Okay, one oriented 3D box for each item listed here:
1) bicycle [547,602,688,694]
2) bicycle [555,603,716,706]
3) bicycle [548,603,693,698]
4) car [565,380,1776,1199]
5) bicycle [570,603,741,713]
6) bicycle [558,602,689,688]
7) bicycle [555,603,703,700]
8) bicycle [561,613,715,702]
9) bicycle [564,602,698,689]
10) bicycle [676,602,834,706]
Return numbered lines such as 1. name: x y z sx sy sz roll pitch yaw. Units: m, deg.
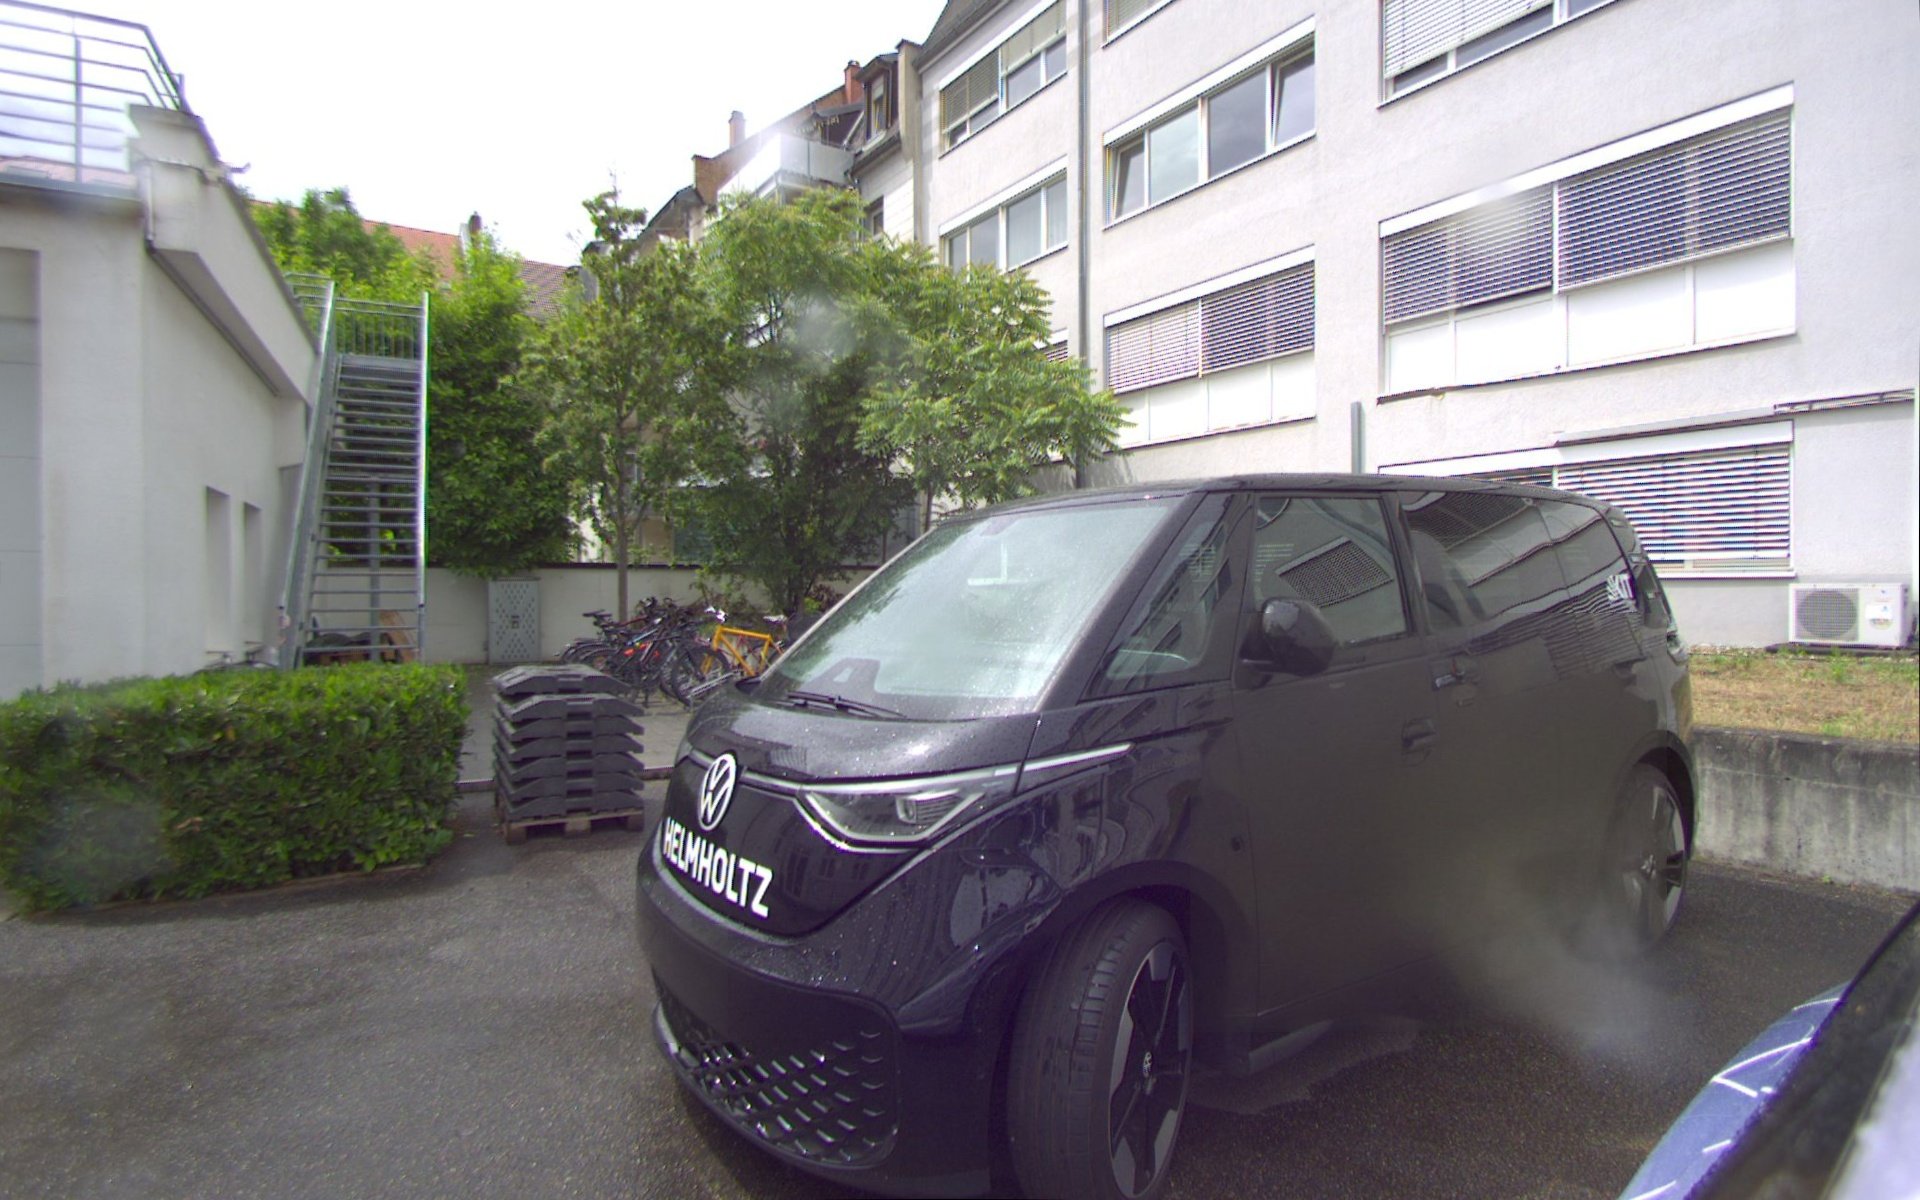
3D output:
1. bicycle: -4.480 0.605 13.311 1.722 1.118 0.346 -1 1 -34
2. bicycle: -3.767 0.607 11.799 1.759 1.118 0.355 0 1 -26
3. bicycle: -4.288 0.608 12.852 1.722 1.118 0.343 -1 1 -34
4. car: 1.145 0.474 3.963 4.659 1.888 1.970 -2 1 -35
5. bicycle: -3.325 0.606 11.120 1.759 1.118 0.406 0 1 -26
6. bicycle: -4.702 0.603 14.210 1.722 1.118 0.342 -1 1 -34
7. bicycle: -4.084 0.606 12.570 1.722 1.118 0.333 -1 1 -34
8. bicycle: -3.885 0.674 12.291 1.762 0.979 0.330 -1 1 -34
9. bicycle: -4.501 0.602 13.918 1.722 1.118 0.355 -1 1 -34
10. bicycle: -2.361 0.597 11.742 1.759 1.118 0.368 0 1 -26
